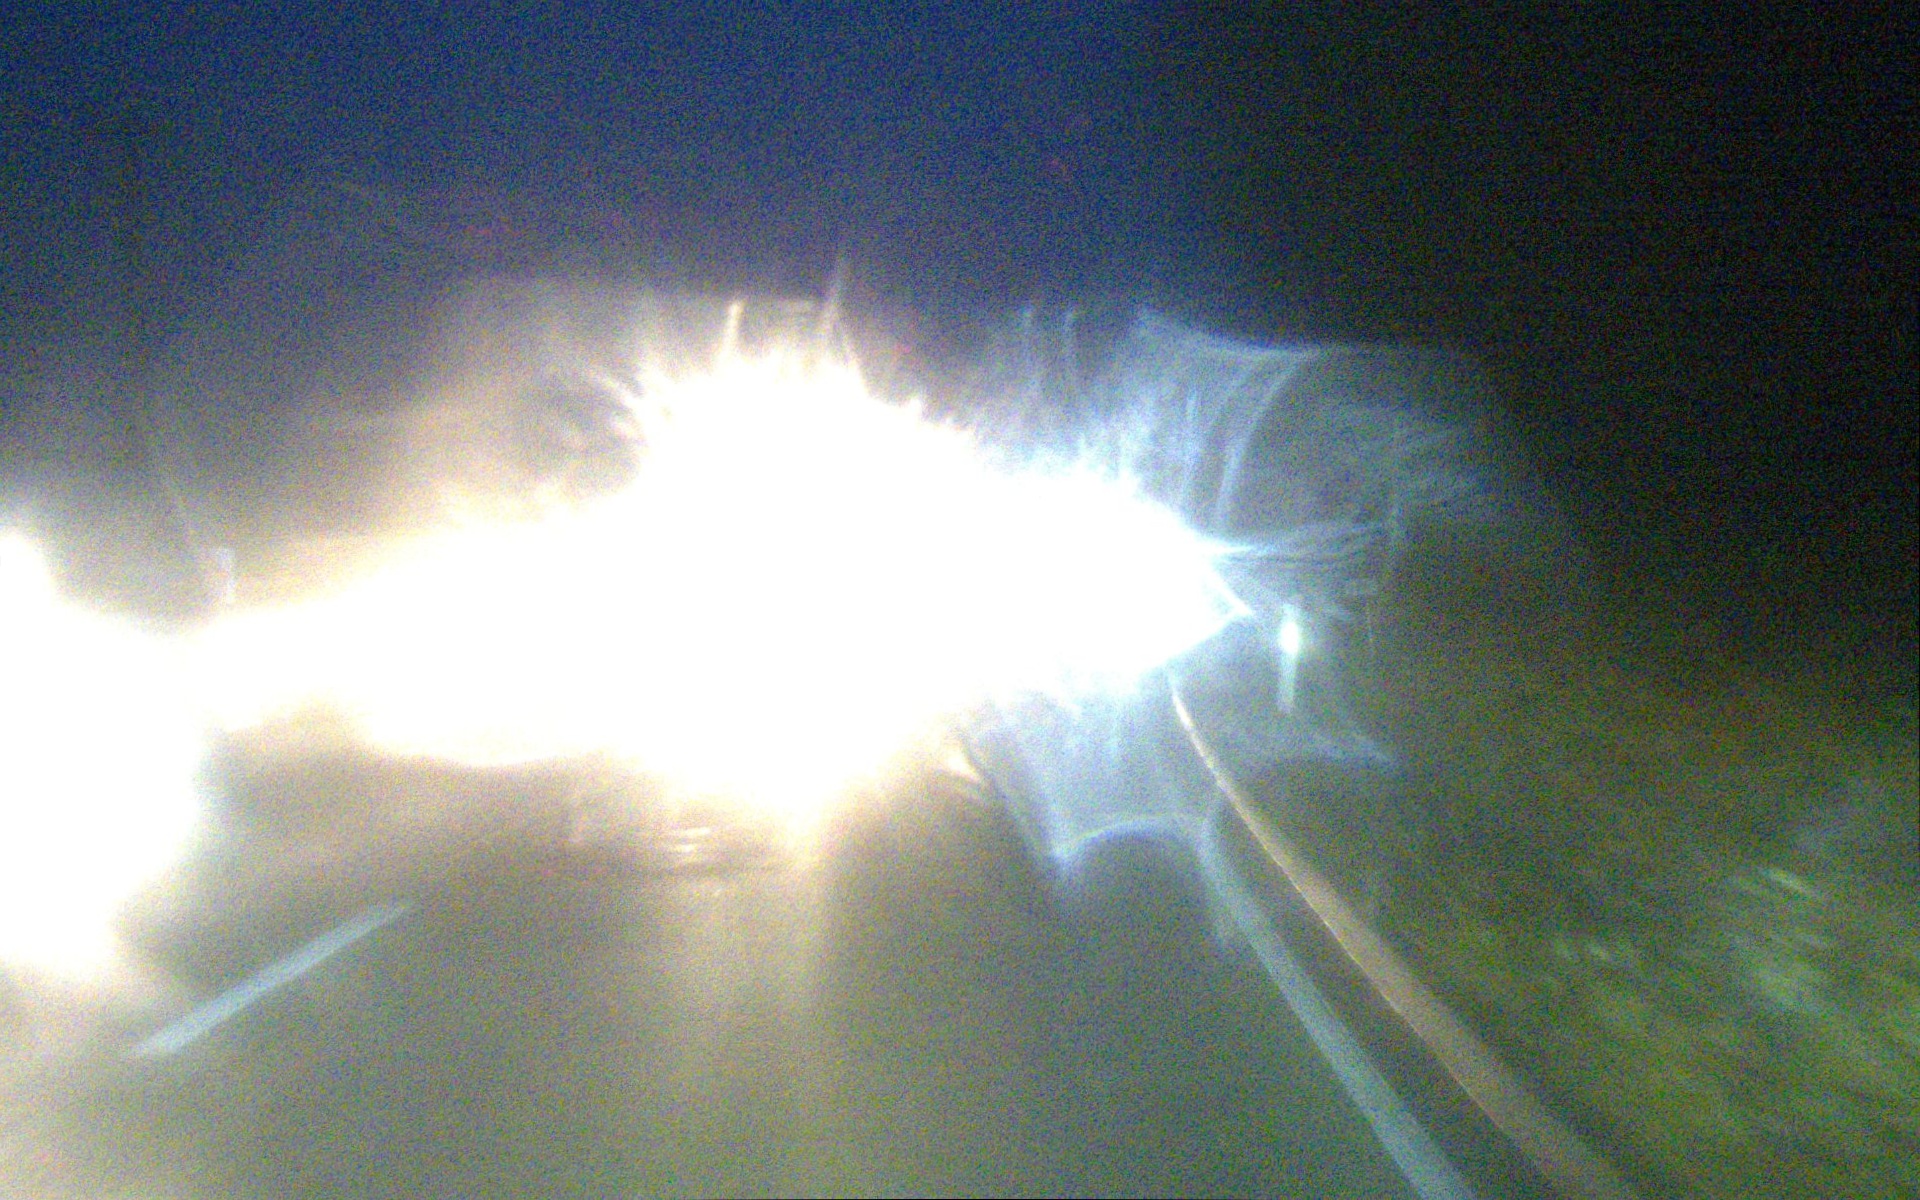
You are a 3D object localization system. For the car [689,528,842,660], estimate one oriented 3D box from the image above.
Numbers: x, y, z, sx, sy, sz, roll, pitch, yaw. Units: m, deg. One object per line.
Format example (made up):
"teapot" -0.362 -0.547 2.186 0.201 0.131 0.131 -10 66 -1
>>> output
"car" -2.832 -0.126 50.816 1.993 1.650 4.001 -4 2 -1

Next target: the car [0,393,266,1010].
"car" -3.715 0.266 12.343 1.757 1.861 4.001 0 1 -2
